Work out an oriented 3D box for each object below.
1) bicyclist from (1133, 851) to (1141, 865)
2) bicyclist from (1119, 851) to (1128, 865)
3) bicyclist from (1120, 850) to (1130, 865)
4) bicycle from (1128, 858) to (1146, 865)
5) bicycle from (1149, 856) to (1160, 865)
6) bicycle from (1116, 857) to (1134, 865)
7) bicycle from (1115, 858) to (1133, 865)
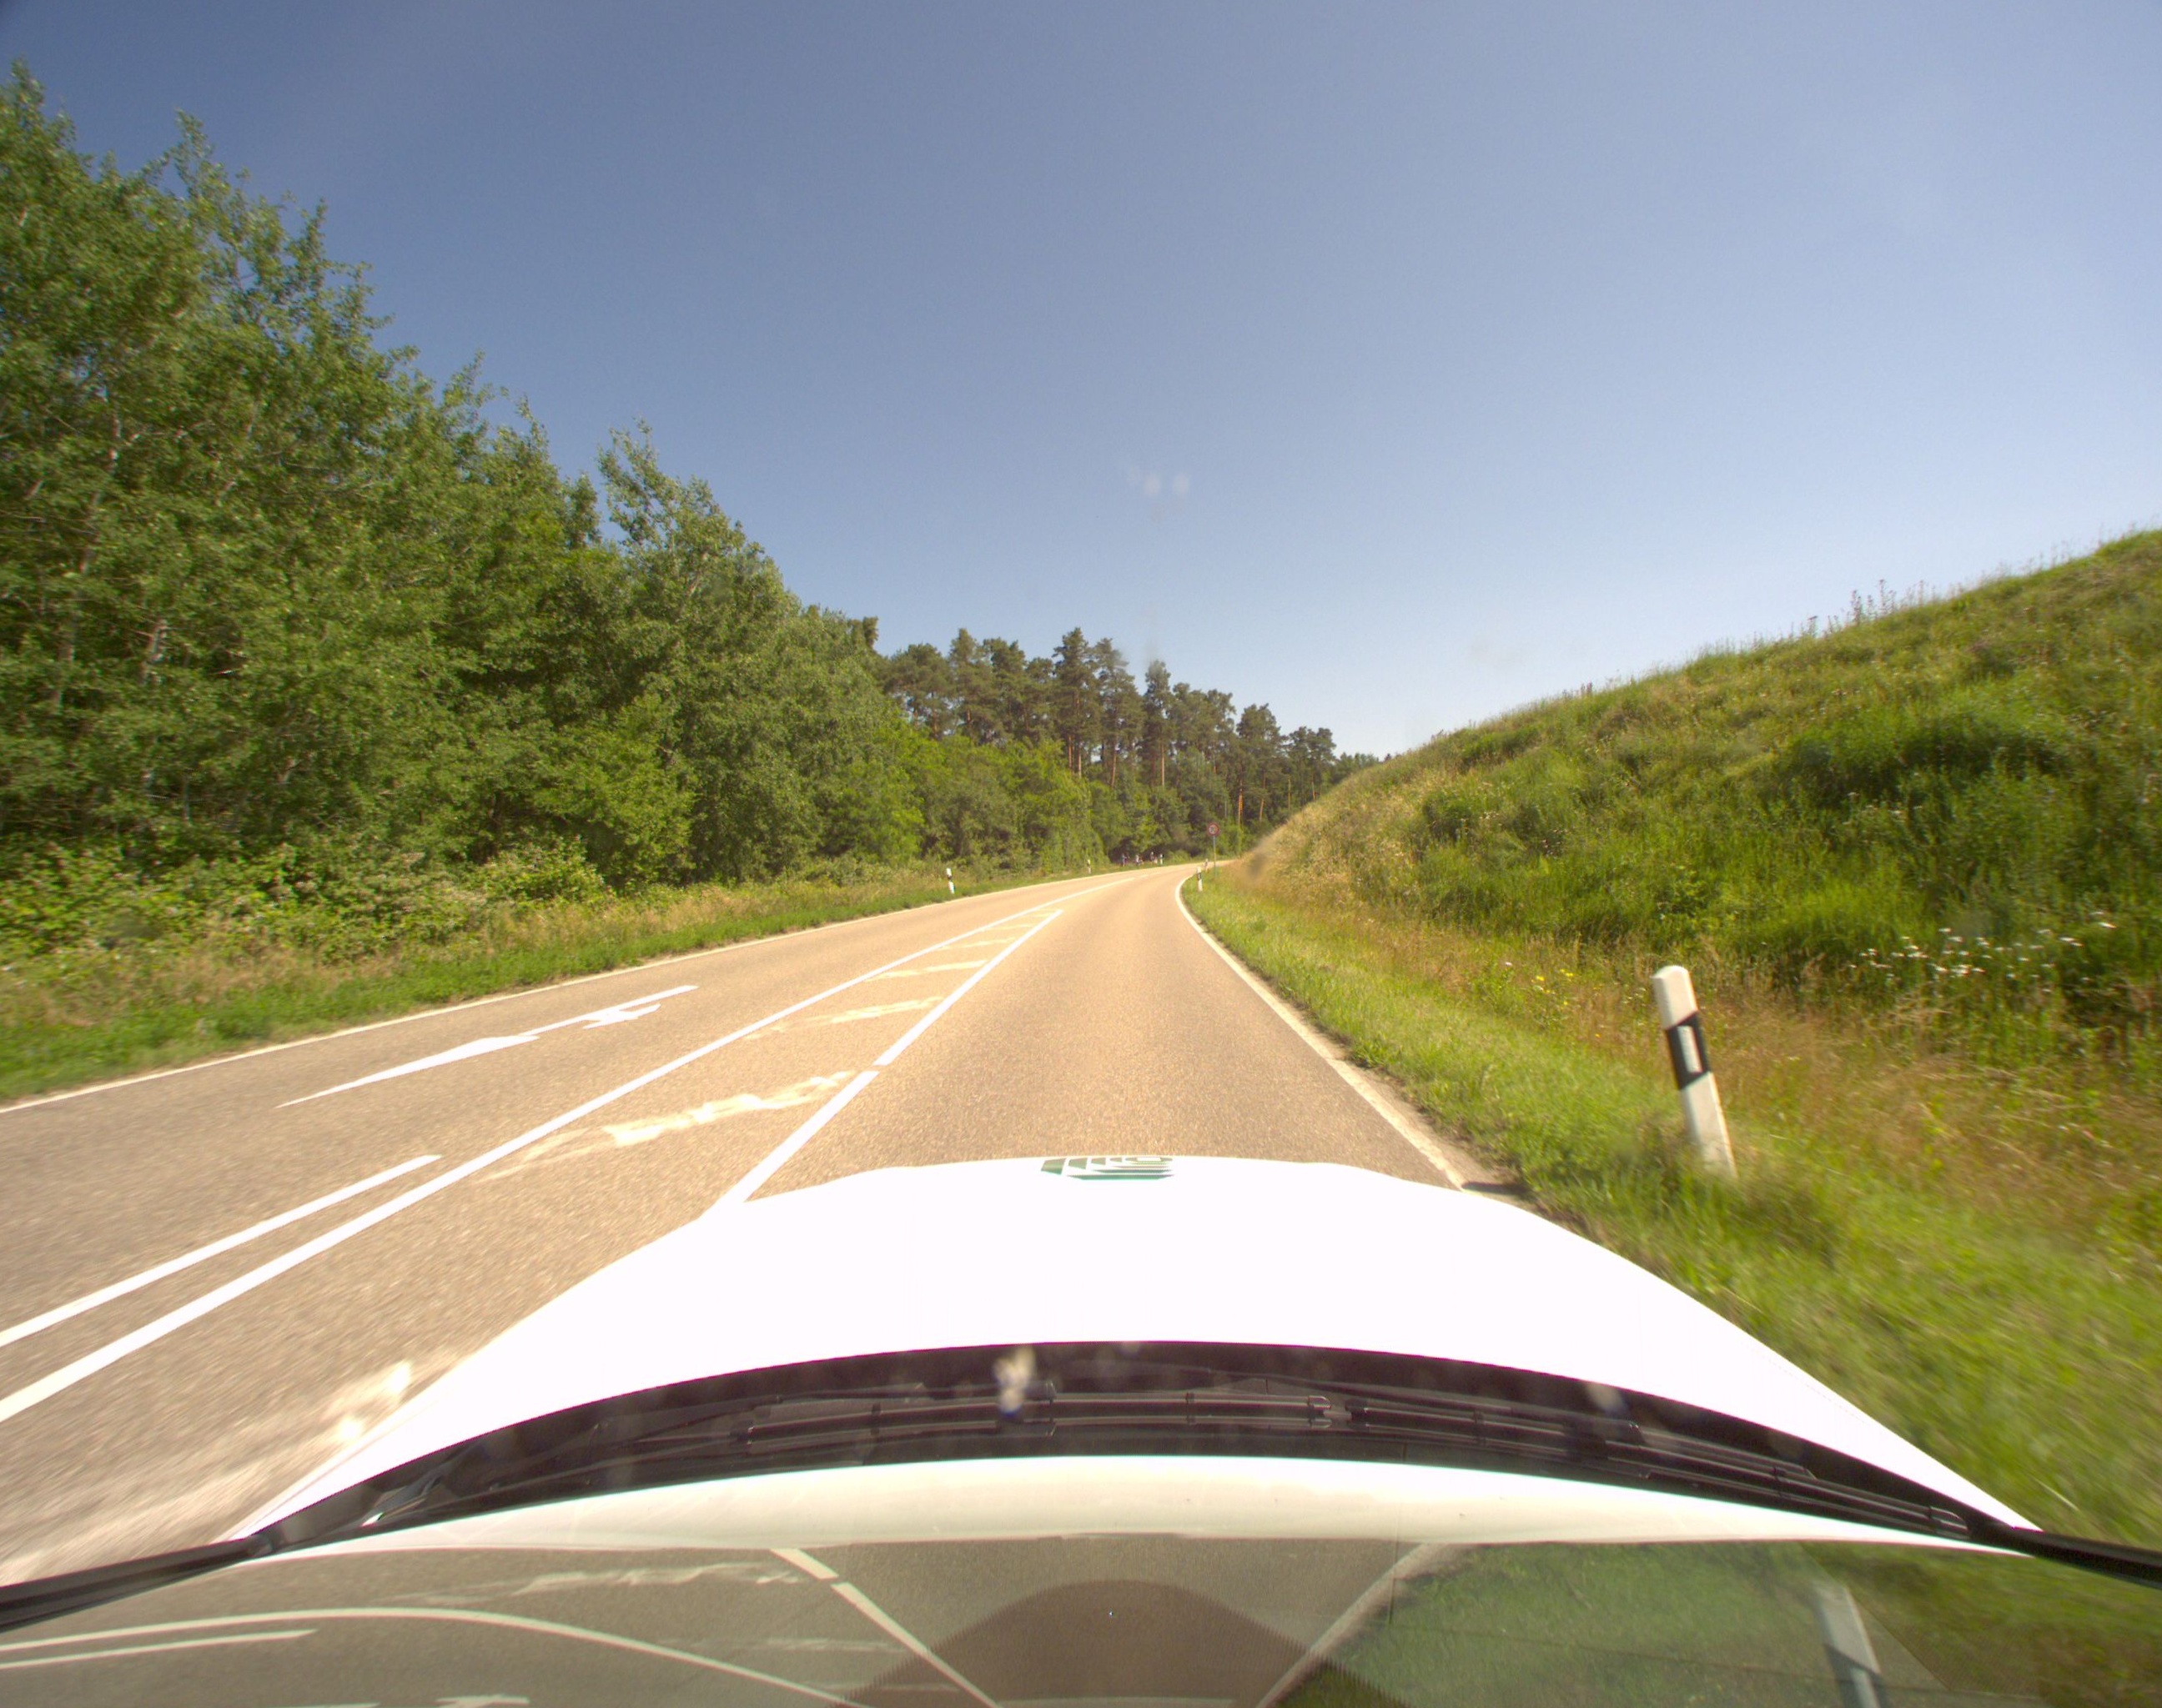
[{"bbox_3d":[6.660,0.451,97.113,0.789,1.719,0.602,0,-1,-19],"label":"bicyclist"},{"bbox_3d":[4.844,0.490,92.395,0.873,1.545,0.601,0,-1,-25],"label":"bicyclist"},{"bbox_3d":[5.037,0.410,93.180,0.852,1.700,0.601,0,-1,-25],"label":"bicyclist"},{"bbox_3d":[6.684,0.855,97.121,1.984,0.829,0.602,0,-1,-19],"label":"bicycle"},{"bbox_3d":[9.126,0.813,101.236,1.455,1.086,0.575,-3,2,-41],"label":"bicycle"},{"bbox_3d":[5.021,0.781,93.165,1.988,0.829,0.601,0,-1,-26],"label":"bicycle"},{"bbox_3d":[4.846,0.855,92.382,1.988,0.829,0.601,0,-1,-26],"label":"bicycle"}]
